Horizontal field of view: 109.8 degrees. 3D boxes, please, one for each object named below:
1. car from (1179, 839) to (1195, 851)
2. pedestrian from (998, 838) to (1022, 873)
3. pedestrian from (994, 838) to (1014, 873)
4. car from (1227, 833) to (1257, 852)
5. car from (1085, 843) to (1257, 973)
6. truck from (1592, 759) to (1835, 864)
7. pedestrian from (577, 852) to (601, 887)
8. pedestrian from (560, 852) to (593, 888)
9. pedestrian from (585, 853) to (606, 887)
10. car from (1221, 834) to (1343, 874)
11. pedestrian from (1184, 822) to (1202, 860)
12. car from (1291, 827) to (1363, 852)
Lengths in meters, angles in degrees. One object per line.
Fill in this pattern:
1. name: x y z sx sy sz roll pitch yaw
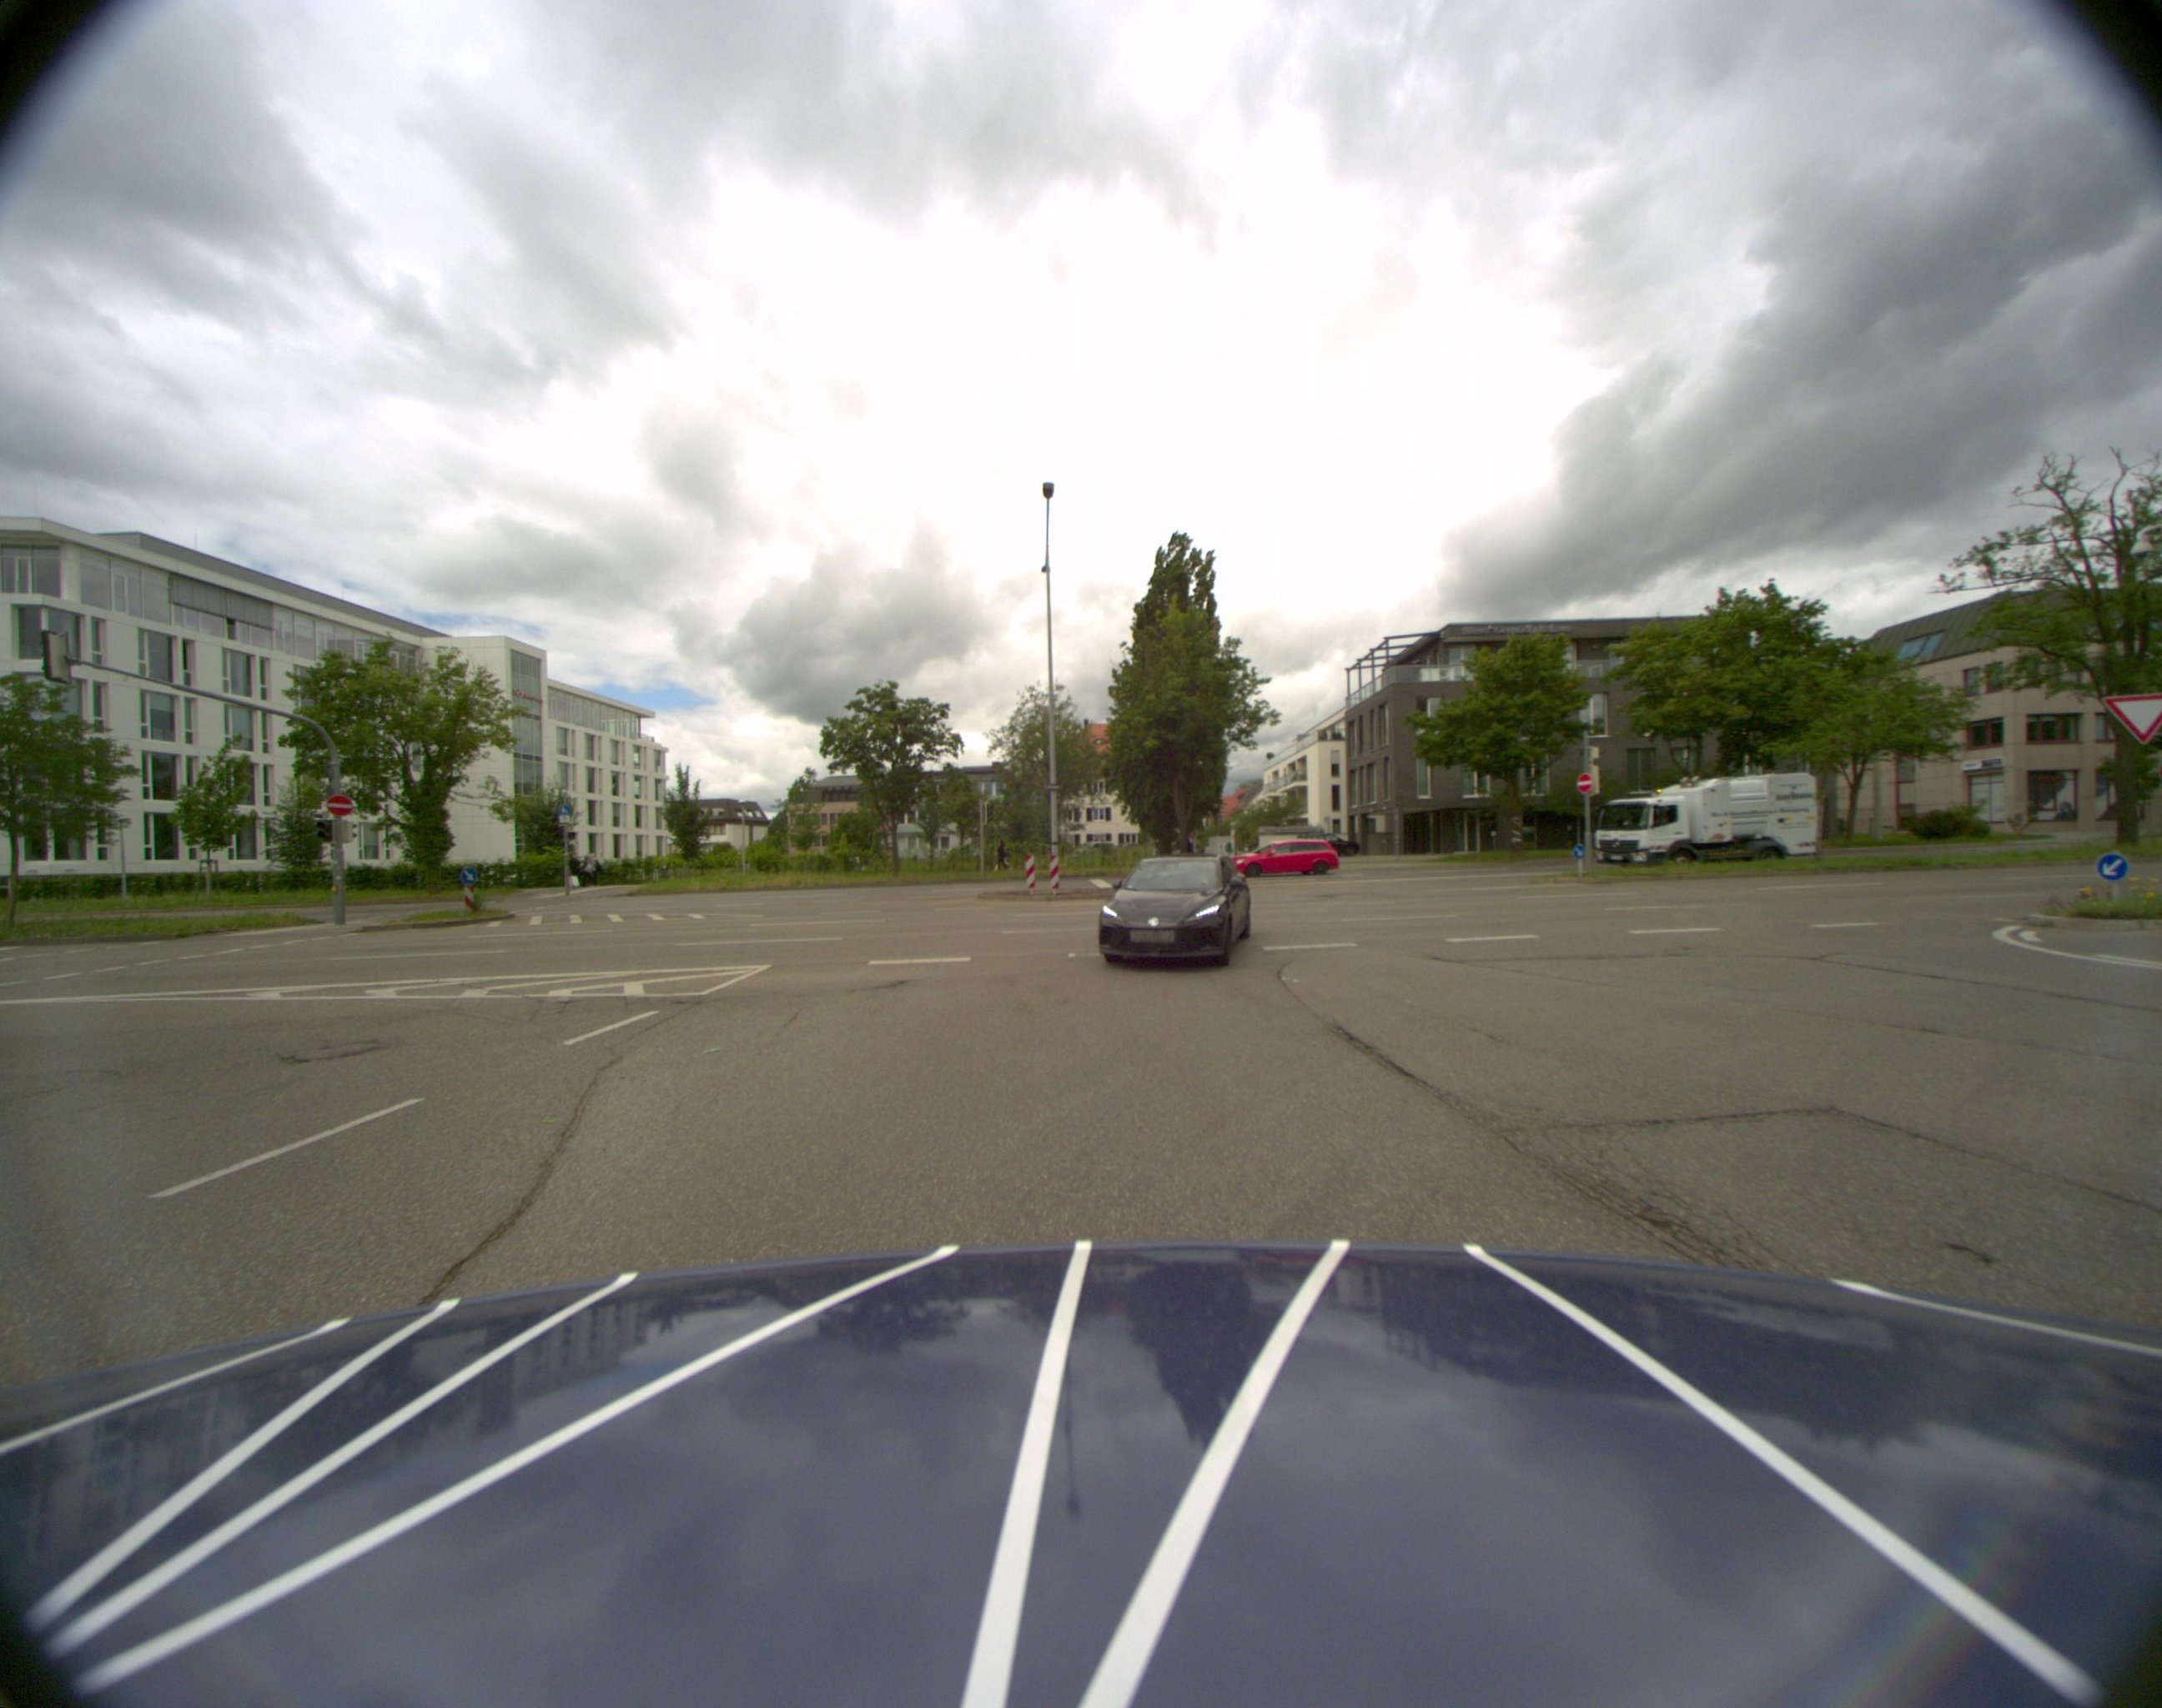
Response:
1. car: 14.601 -1.197 104.703 1.955 1.543 3.967 -3 0 7
2. pedestrian: -3.544 0.063 37.728 1.004 1.685 0.607 -3 0 -16
3. pedestrian: -3.906 0.086 38.373 0.833 1.685 0.615 -3 0 -16
4. car: 15.049 -1.045 71.268 1.876 1.630 3.828 -3 0 -1
5. car: 1.586 0.660 11.829 1.797 1.476 4.023 0 4 19
6. truck: 21.367 -1.447 25.875 6.464 3.178 2.435 -2 3 -4
7. pedestrian: -23.542 0.743 36.363 0.707 1.616 0.566 -3 0 23
8. pedestrian: -23.690 0.733 35.695 1.032 1.616 0.734 -3 0 19
9. pedestrian: -23.776 0.784 37.190 0.689 1.616 0.660 -3 0 -41
10. car: 8.061 -0.018 30.728 4.354 1.415 1.999 -2 2 -4
11. pedestrian: 5.509 -0.638 37.501 0.750 1.787 0.671 -3 0 5
12. car: 16.300 -0.955 50.491 4.121 1.591 2.000 -1 0 2
